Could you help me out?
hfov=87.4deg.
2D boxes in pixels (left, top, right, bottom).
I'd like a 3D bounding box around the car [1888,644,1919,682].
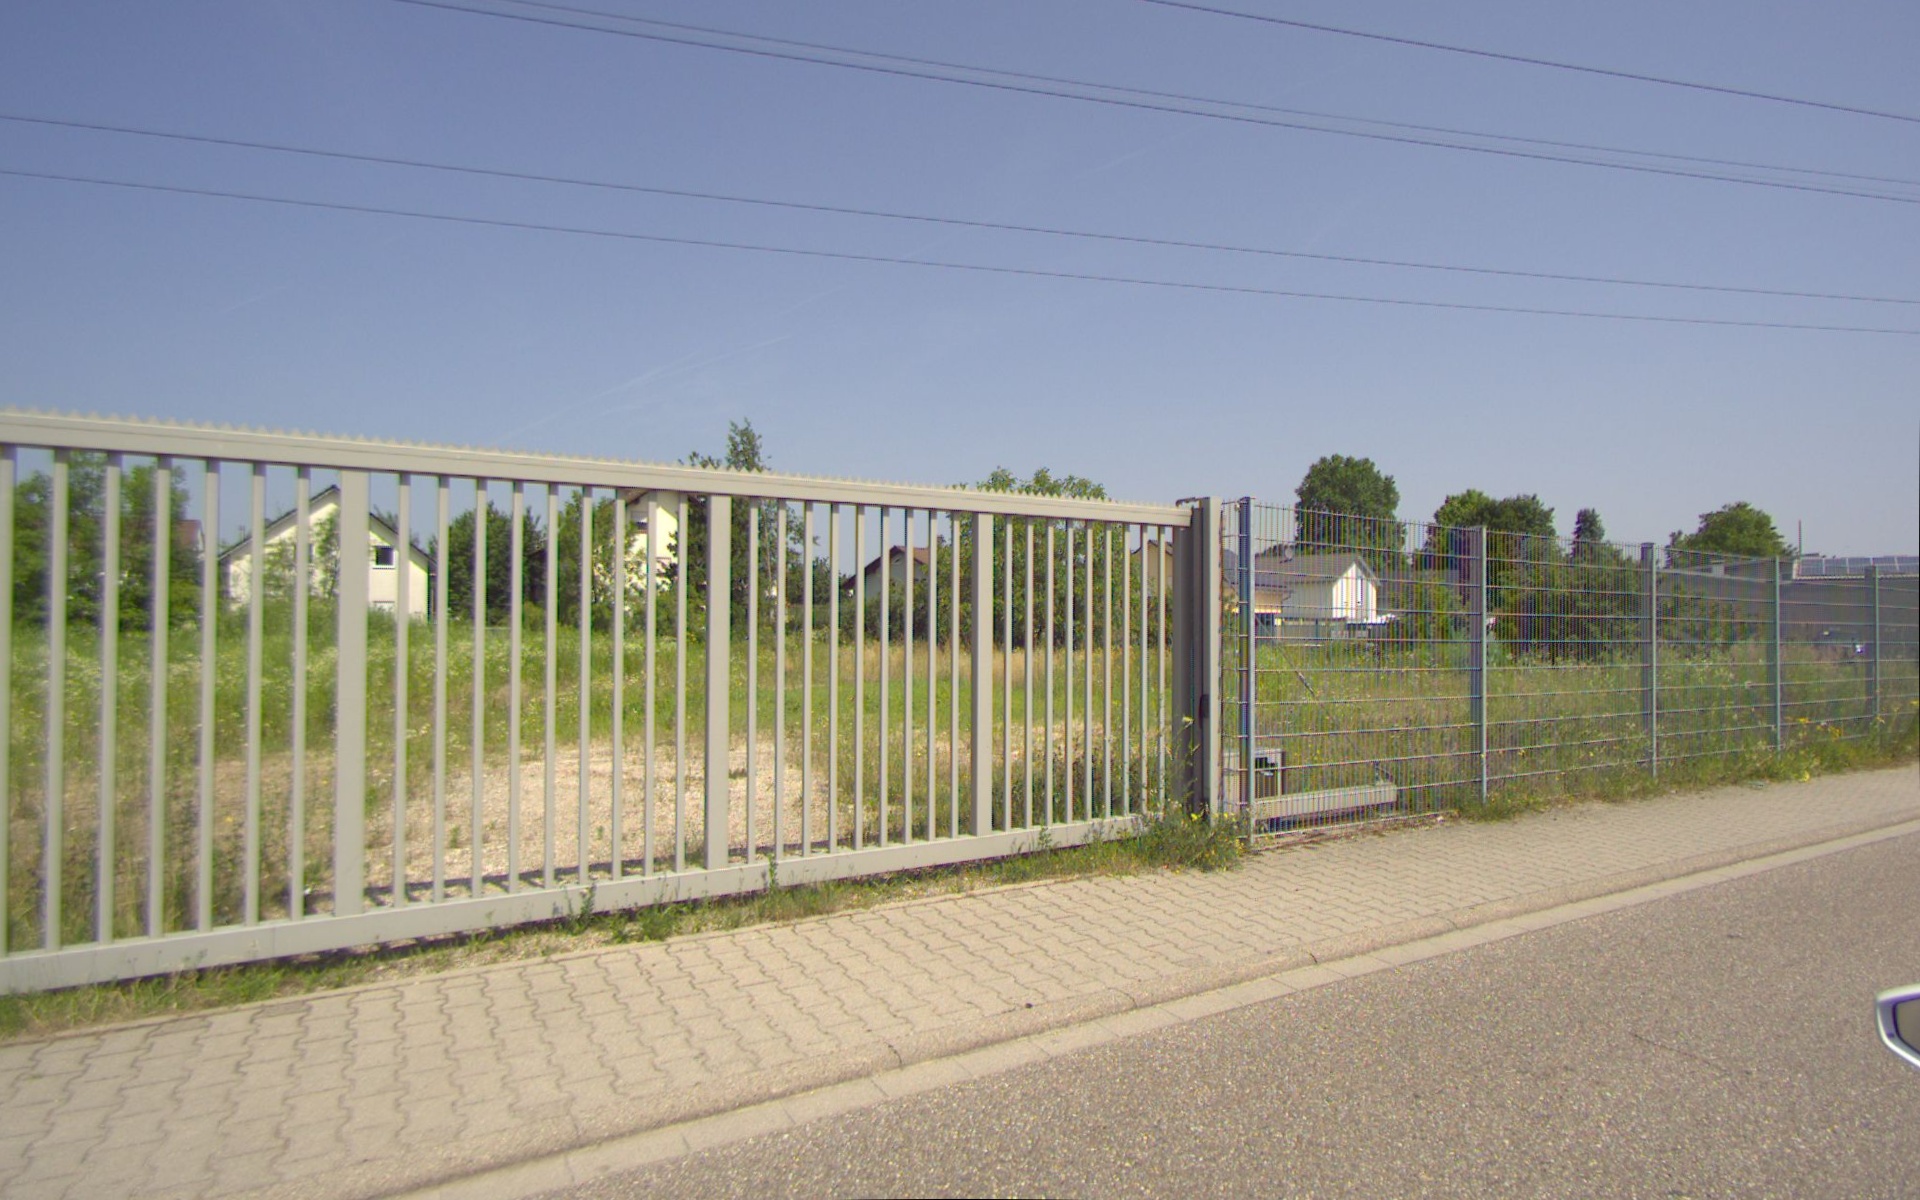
[{"bbox_3d":[39.028,2.537,40.451,1.837,1.433,3.432,0,-1,33],"label":"car"}]
